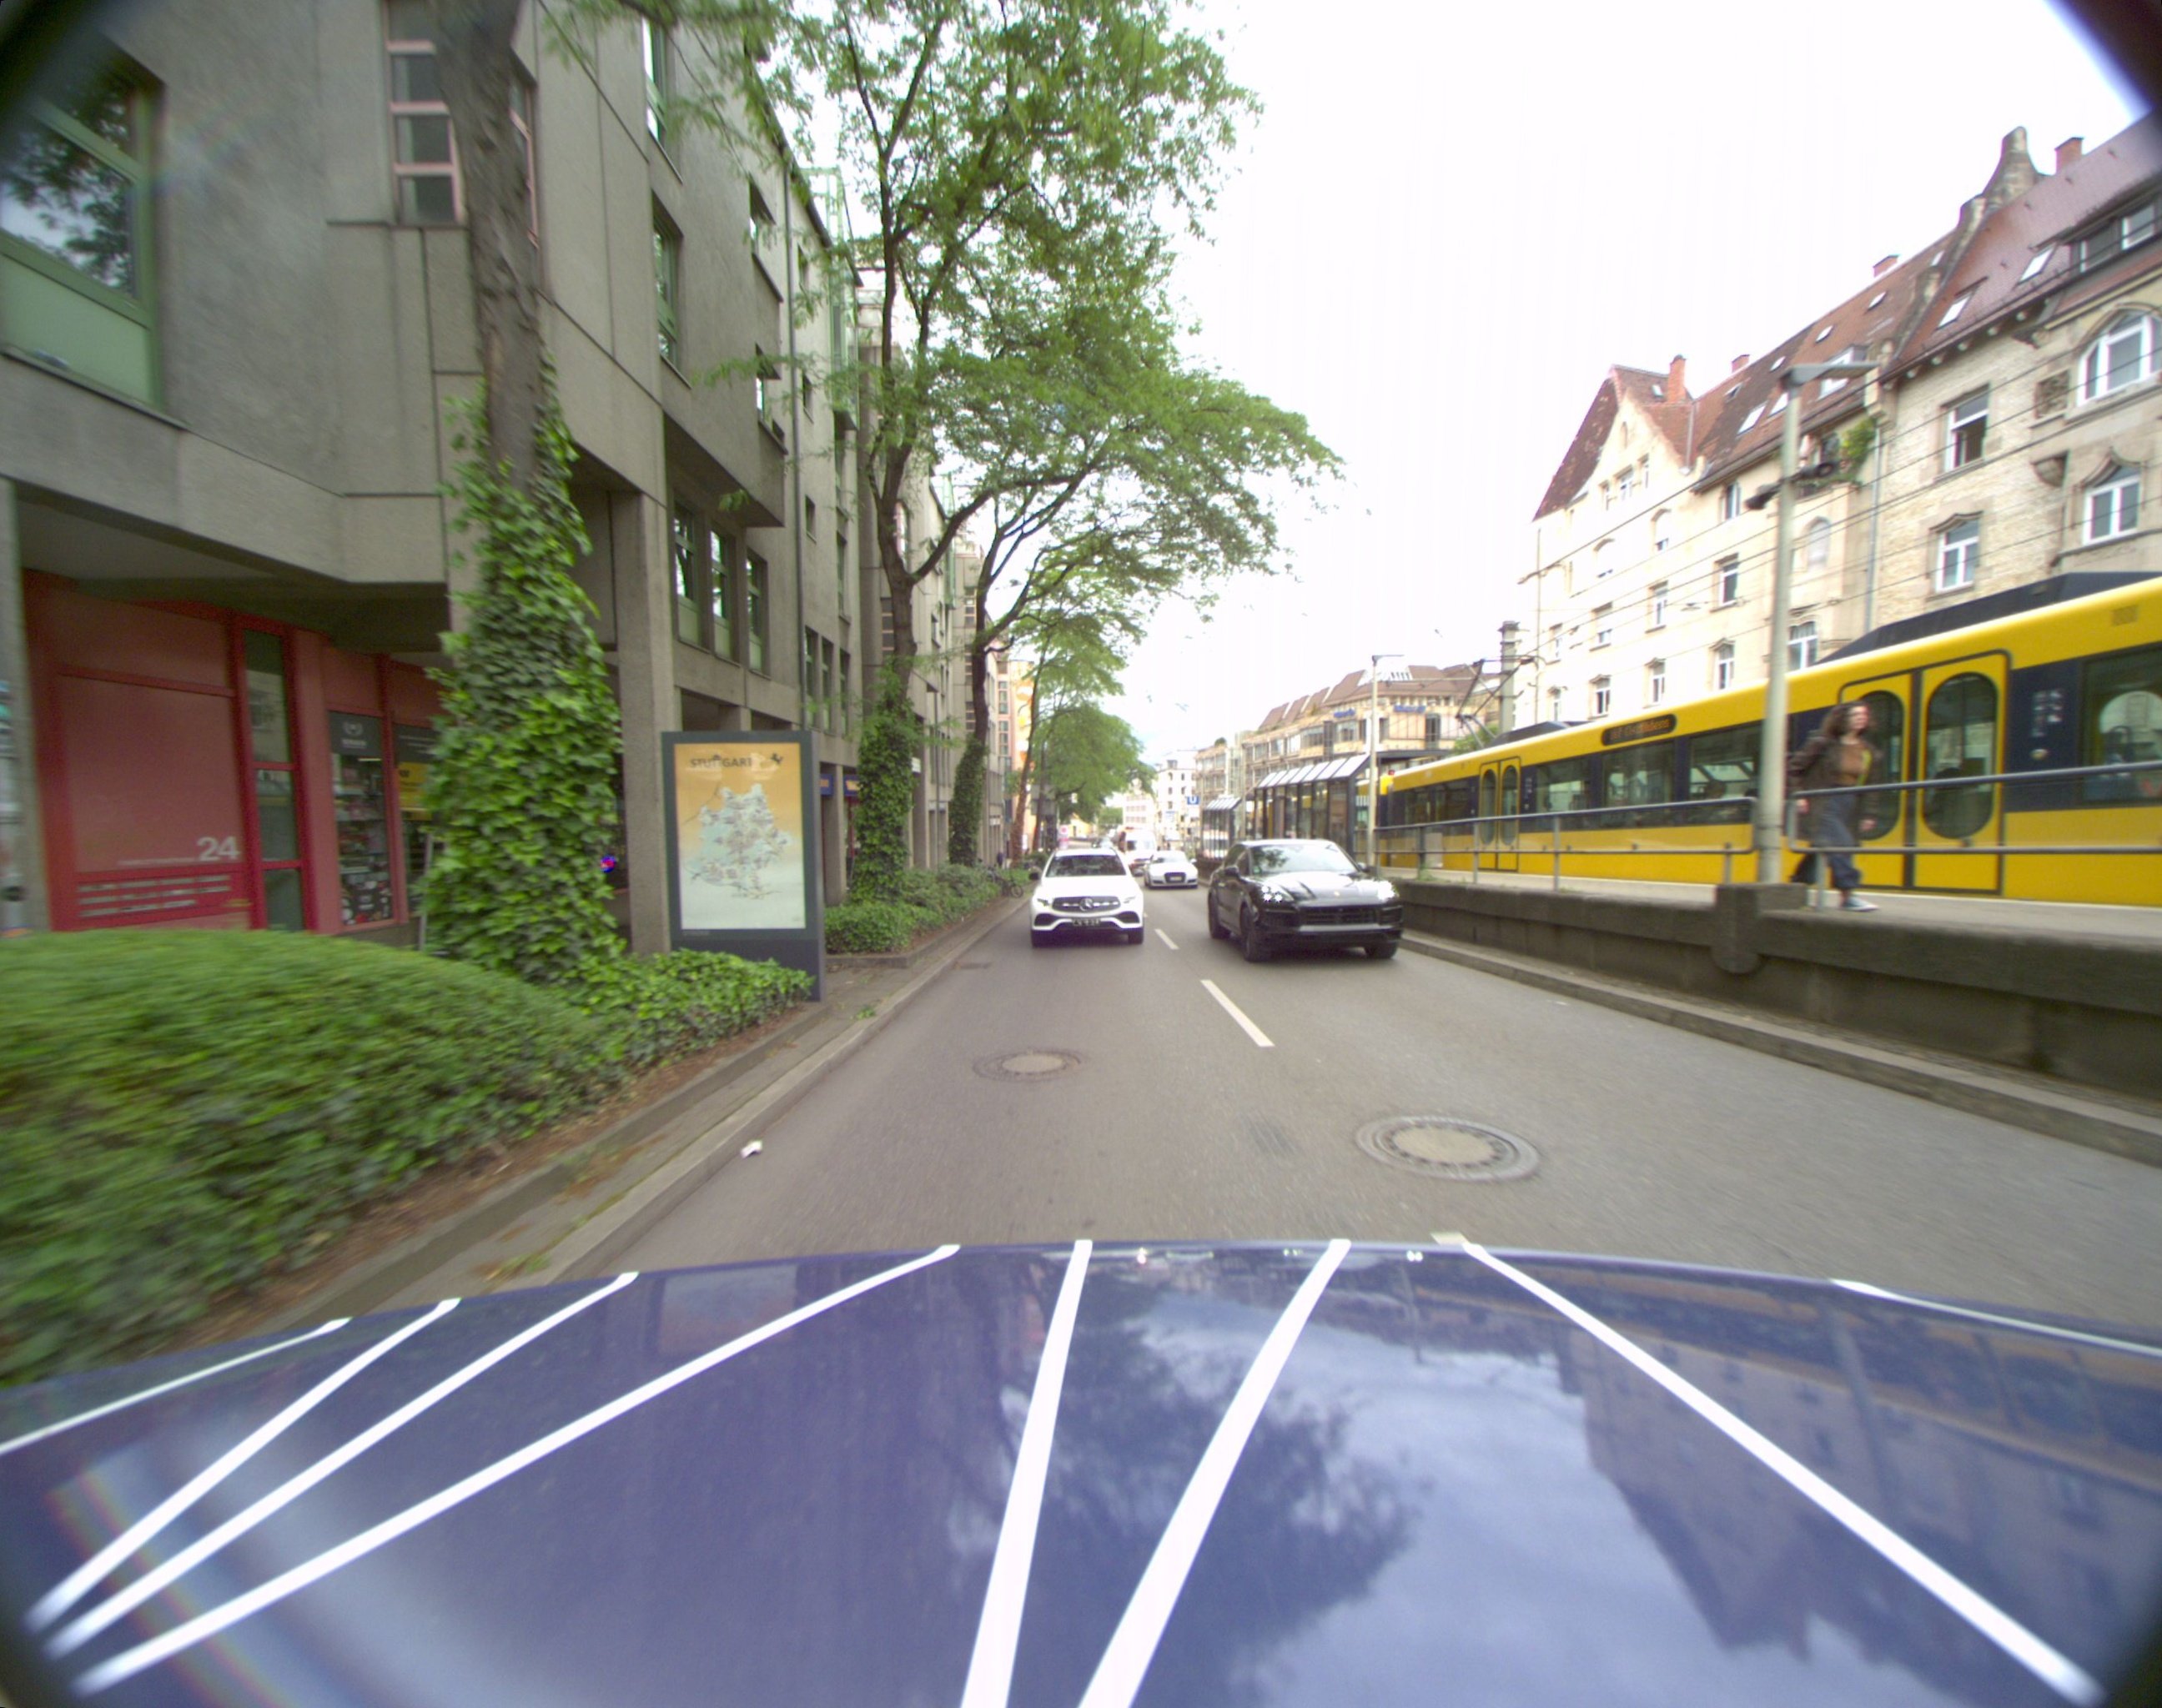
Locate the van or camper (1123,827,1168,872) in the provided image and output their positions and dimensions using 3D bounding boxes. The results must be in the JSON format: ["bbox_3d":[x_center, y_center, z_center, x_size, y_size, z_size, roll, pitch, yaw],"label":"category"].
[{"bbox_3d":[3.928,-0.301,47.656,2.208,2.543,6.372,-2,1,0],"label":"van or camper"}]

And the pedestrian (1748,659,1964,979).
[{"bbox_3d":[5.852,-0.249,5.793,0.838,2.271,0.772,0,1,0],"label":"pedestrian"}]

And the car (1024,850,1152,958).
[{"bbox_3d":[0.139,0.765,14.127,1.935,1.622,4.773,-1,0,1],"label":"car"}]

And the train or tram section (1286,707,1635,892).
[{"bbox_3d":[9.271,-1.099,21.811,2.889,3.421,14.229,-3,0,1],"label":"train or tram section"}]

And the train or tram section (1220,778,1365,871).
[{"bbox_3d":[9.356,-1.182,35.967,2.889,3.399,14.229,-3,0,1],"label":"train or tram section"}]

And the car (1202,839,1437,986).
[{"bbox_3d":[3.169,0.670,11.286,2.032,1.675,4.781,-1,0,1],"label":"car"}]

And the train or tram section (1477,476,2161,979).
[{"bbox_3d":[9.120,-0.959,7.561,2.930,3.538,14.229,-3,0,1],"label":"train or tram section"}]

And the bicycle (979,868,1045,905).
[{"bbox_3d":[-2.261,1.062,24.868,2.093,1.079,0.712,-3,1,-7],"label":"bicycle"}]

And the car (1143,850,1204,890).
[{"bbox_3d":[3.627,0.580,30.508,1.897,1.466,4.531,-1,0,1],"label":"car"}]
